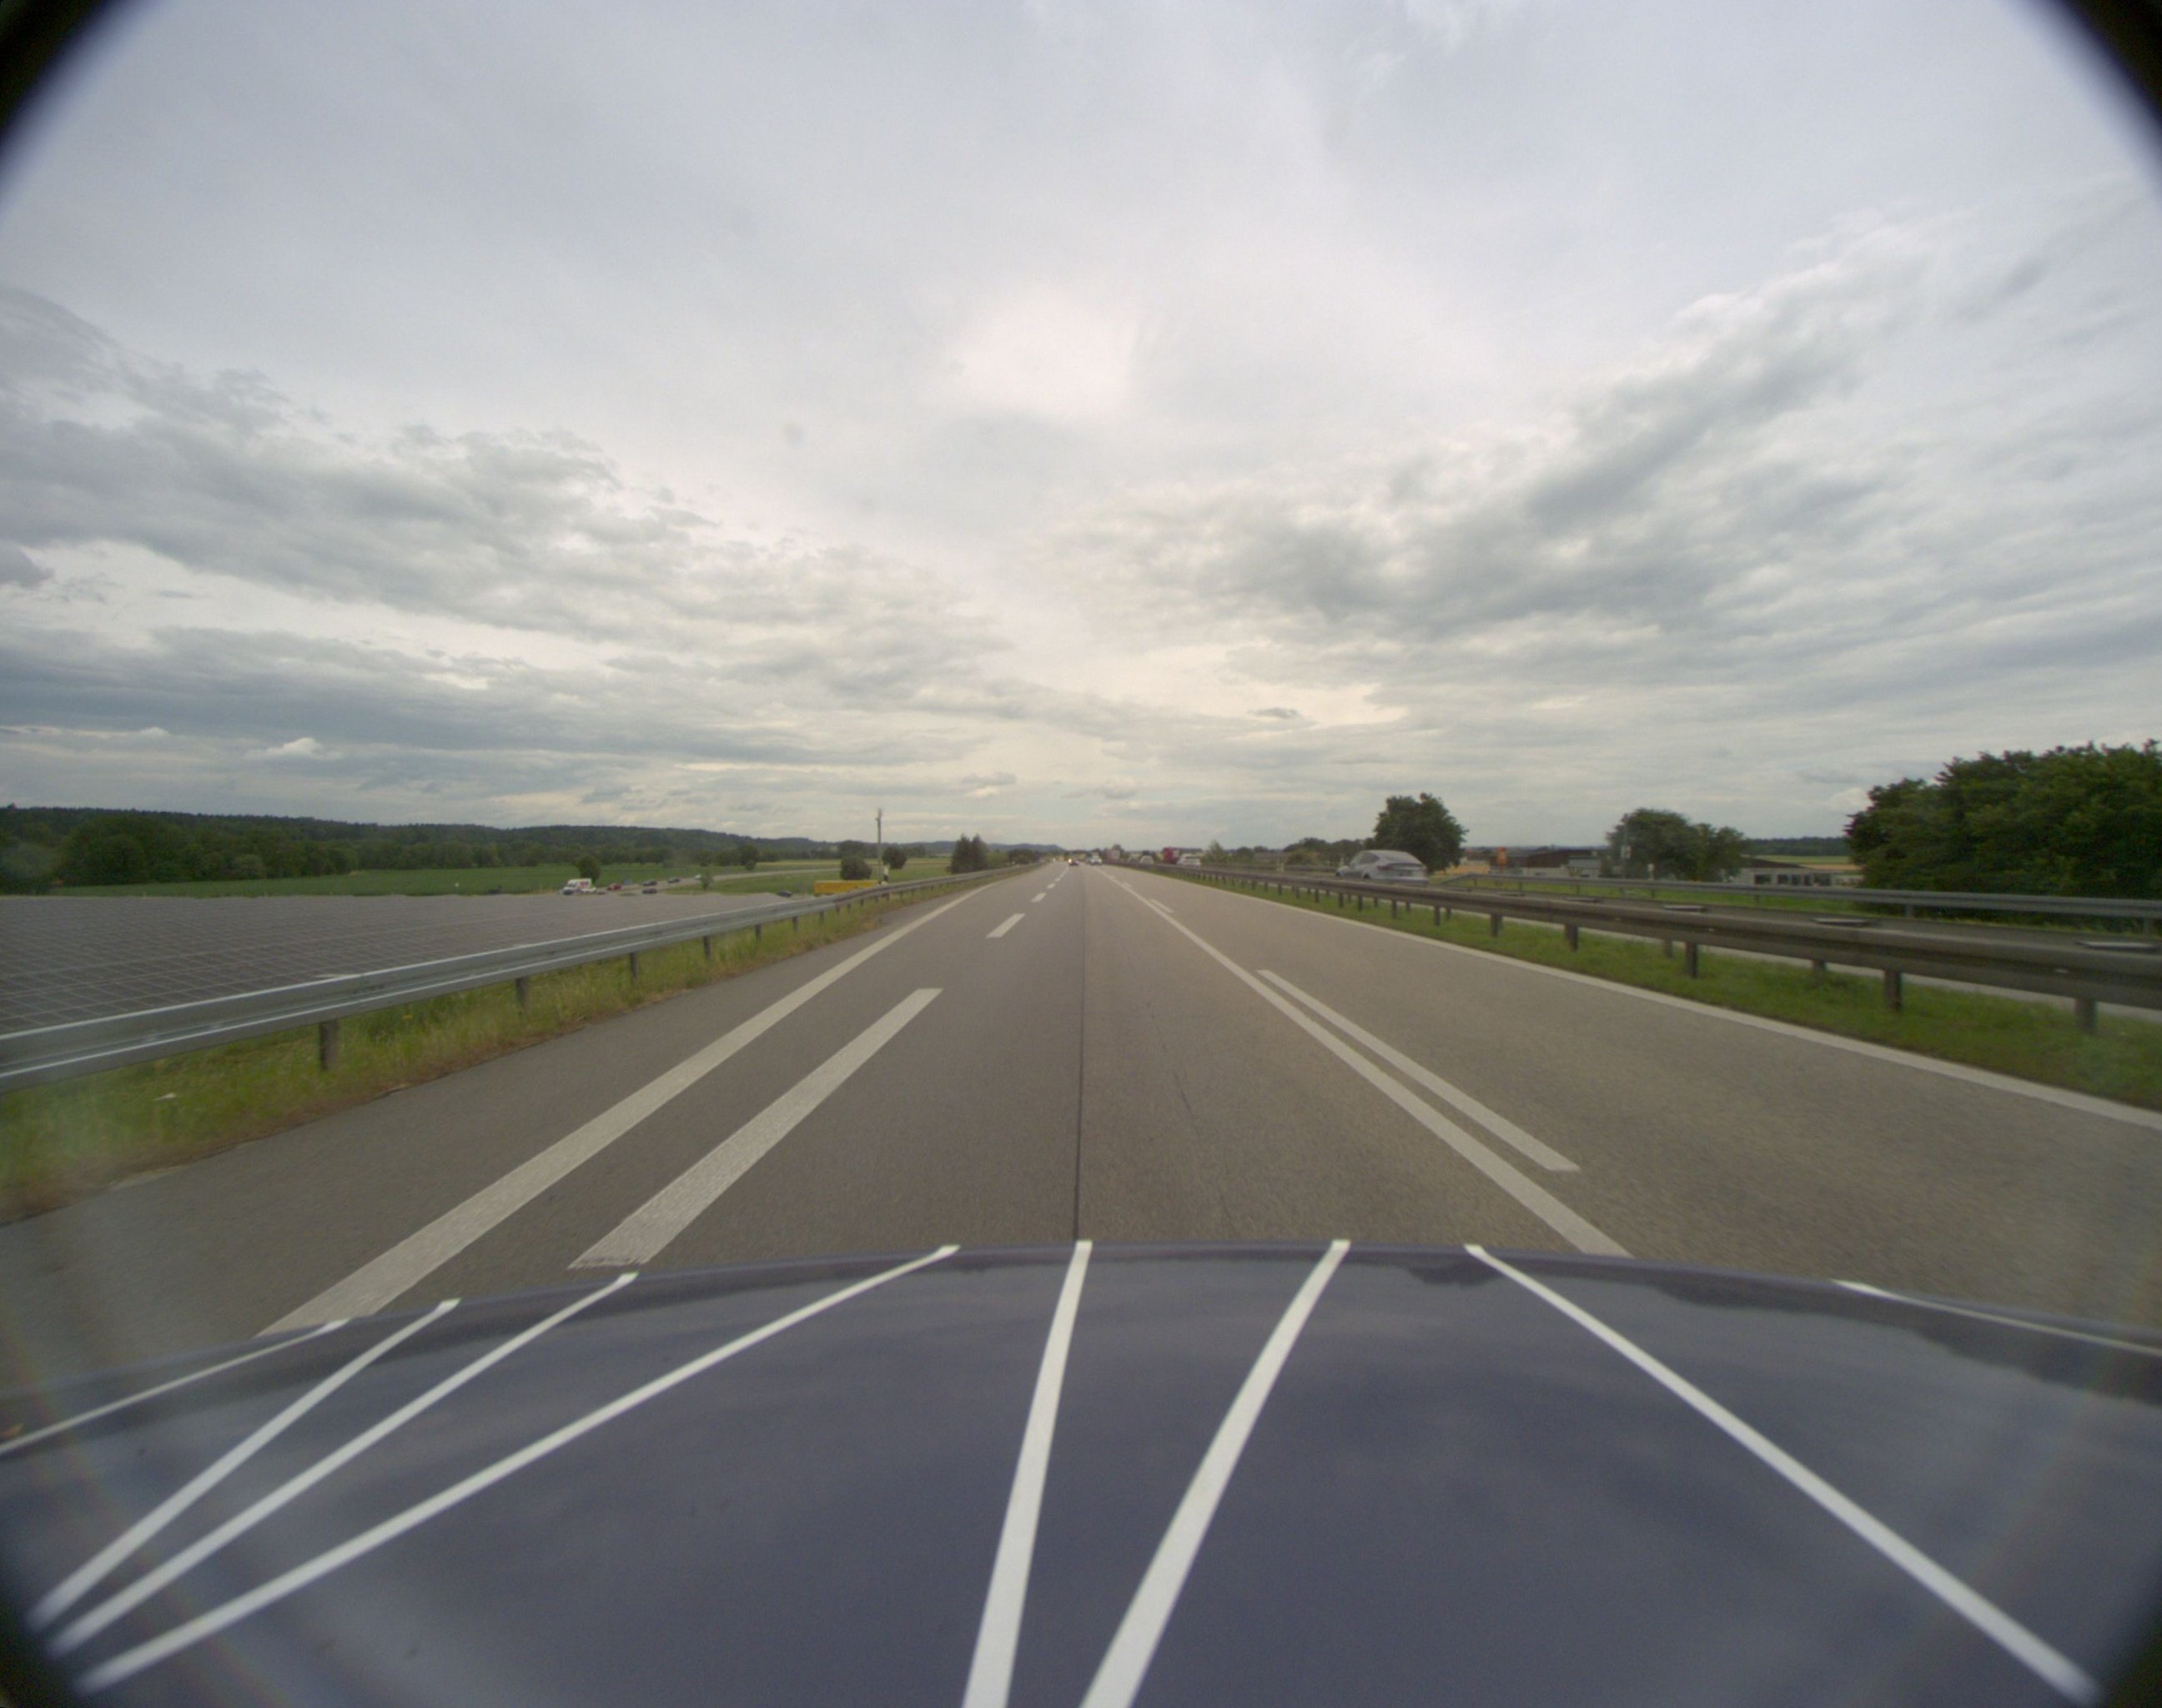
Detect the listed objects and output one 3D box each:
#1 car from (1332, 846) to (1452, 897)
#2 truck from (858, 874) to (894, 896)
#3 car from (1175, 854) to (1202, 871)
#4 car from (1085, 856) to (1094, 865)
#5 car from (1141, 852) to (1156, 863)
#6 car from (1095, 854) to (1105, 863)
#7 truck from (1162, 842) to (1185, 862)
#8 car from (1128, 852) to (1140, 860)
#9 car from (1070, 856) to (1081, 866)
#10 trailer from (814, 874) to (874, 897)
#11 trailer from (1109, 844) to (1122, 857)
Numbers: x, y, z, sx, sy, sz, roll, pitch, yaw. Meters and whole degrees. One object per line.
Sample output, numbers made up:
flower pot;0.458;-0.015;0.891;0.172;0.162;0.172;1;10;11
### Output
car;10.648;0.554;26.485;2.141;1.579;4.999;0;0;0
truck;-45.016;6.756;167.220;7.137;4.759;3.018;-1;0;-4
car;10.239;0.779;72.458;1.896;1.579;4.762;0;0;0
car;2.051;1.454;176.250;1.998;2.002;4.000;-2;0;1
car;10.084;0.545;114.430;1.858;1.579;4.816;0;0;0
car;3.408;0.814;136.478;1.850;1.665;4.200;1;0;2
truck;17.776;-0.399;146.772;2.675;3.516;11.076;1;0;-1
car;10.020;0.365;143.424;1.896;1.579;4.762;0;0;0
car;-1.046;1.368;142.688;1.851;1.850;4.000;1;0;-1
trailer;-51.928;6.877;166.760;12.304;4.759;3.018;-1;0;-4
trailer;10.906;-1.184;240.993;2.916;3.918;13.974;-2;0;-1
